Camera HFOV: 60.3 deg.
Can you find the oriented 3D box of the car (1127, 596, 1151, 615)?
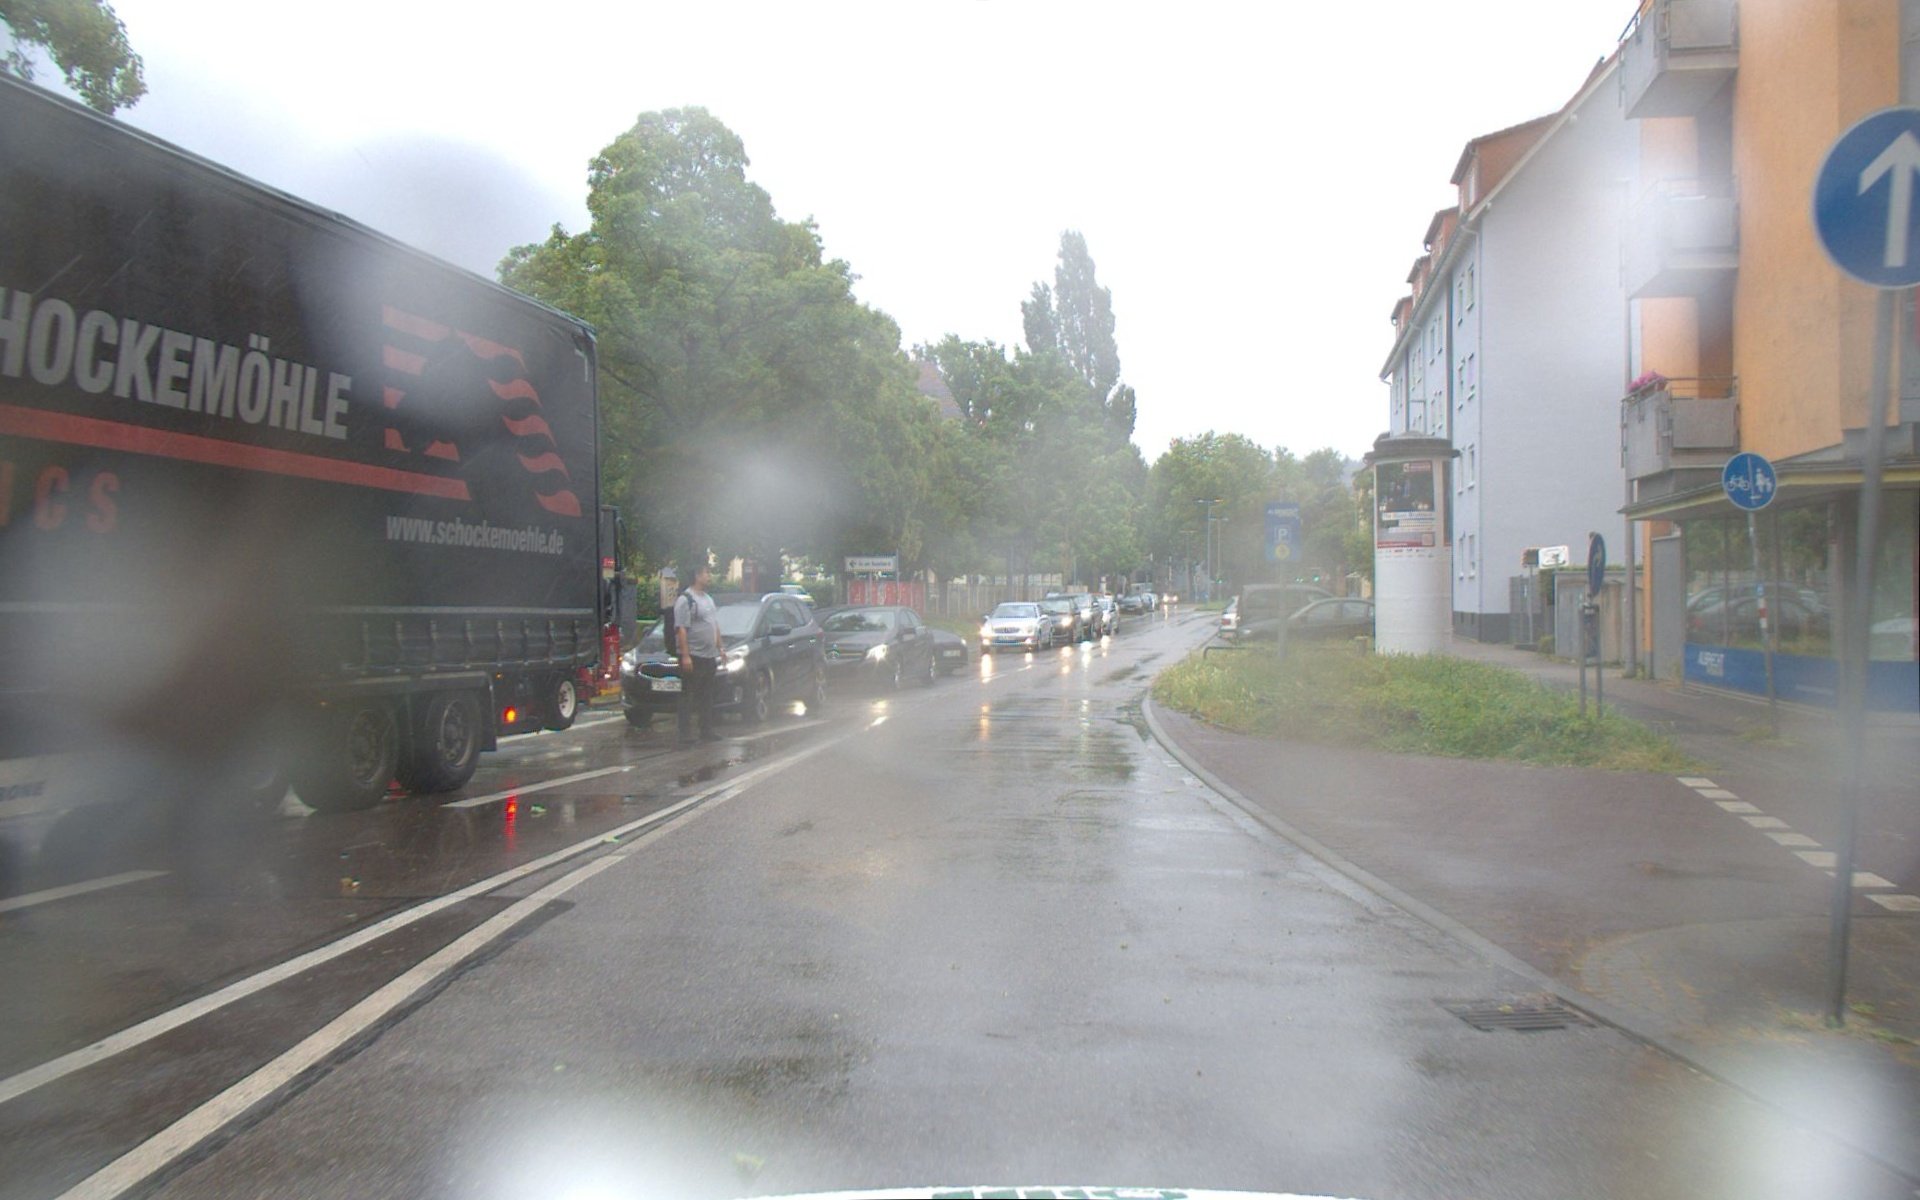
[{"bbox_3d":[14.549,0.444,134.147,1.888,1.510,4.003,-1,0,7],"label":"car"}]

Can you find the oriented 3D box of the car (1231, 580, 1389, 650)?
[{"bbox_3d":[9.654,0.426,45.891,4.142,1.837,1.946,-1,0,7],"label":"car"}]

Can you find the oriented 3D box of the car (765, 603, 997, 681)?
[{"bbox_3d":[-1.712,0.829,34.569,4.842,1.479,2.073,0,0,43],"label":"car"}]

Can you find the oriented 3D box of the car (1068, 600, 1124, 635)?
[{"bbox_3d":[5.662,0.697,68.370,1.637,1.407,4.255,0,0,14],"label":"car"}]

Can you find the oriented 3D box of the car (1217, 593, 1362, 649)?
[{"bbox_3d":[9.602,0.601,48.498,4.100,1.596,1.890,0,0,9],"label":"car"}]

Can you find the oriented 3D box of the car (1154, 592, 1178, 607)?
[{"bbox_3d":[25.141,-0.051,202.039,1.709,1.718,3.989,1,0,-11],"label":"car"}]

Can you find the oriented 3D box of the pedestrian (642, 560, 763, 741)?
[{"bbox_3d":[-2.766,0.519,17.731,0.975,1.876,0.865,0,0,43],"label":"pedestrian"}]

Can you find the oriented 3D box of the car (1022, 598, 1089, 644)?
[{"bbox_3d":[3.256,0.684,55.701,1.741,1.445,4.269,-1,0,11],"label":"car"}]

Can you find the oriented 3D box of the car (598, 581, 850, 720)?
[{"bbox_3d":[-2.995,0.670,22.164,1.827,1.648,4.806,0,-2,11],"label":"car"}]

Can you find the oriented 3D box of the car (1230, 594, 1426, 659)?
[{"bbox_3d":[8.729,0.631,39.499,4.436,1.496,1.985,-1,0,11],"label":"car"}]

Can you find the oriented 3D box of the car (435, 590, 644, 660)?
[{"bbox_3d":[-9.191,0.546,36.108,4.262,1.419,2.001,1,0,-20],"label":"car"}]

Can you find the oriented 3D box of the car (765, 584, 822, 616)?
[{"bbox_3d":[-8.778,0.011,87.112,1.821,1.600,3.968,1,-1,-25],"label":"car"}]

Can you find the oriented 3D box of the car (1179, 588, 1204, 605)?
[{"bbox_3d":[28.007,-0.431,200.104,1.956,2.049,3.992,0,0,-9],"label":"car"}]

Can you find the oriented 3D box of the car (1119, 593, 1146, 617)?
[{"bbox_3d":[12.440,0.369,119.468,1.738,1.556,4.003,1,2,4],"label":"car"}]

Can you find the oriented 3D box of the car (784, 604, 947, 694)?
[{"bbox_3d":[-1.530,0.789,28.413,1.689,1.385,4.341,-1,0,12],"label":"car"}]

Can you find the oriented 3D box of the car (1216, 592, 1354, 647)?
[{"bbox_3d":[9.999,0.590,51.085,4.092,1.599,1.892,1,0,9],"label":"car"}]

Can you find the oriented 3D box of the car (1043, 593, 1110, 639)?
[{"bbox_3d":[4.444,0.584,62.448,1.873,1.668,4.825,1,0,12],"label":"car"}]

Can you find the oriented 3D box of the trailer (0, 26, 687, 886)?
[{"bbox_3d":[-5.895,-0.694,10.085,3.368,4.119,15.064,-1,0,11],"label":"trailer"}]

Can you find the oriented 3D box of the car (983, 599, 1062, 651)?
[{"bbox_3d":[1.888,0.716,48.587,1.737,1.428,4.834,1,0,9],"label":"car"}]
